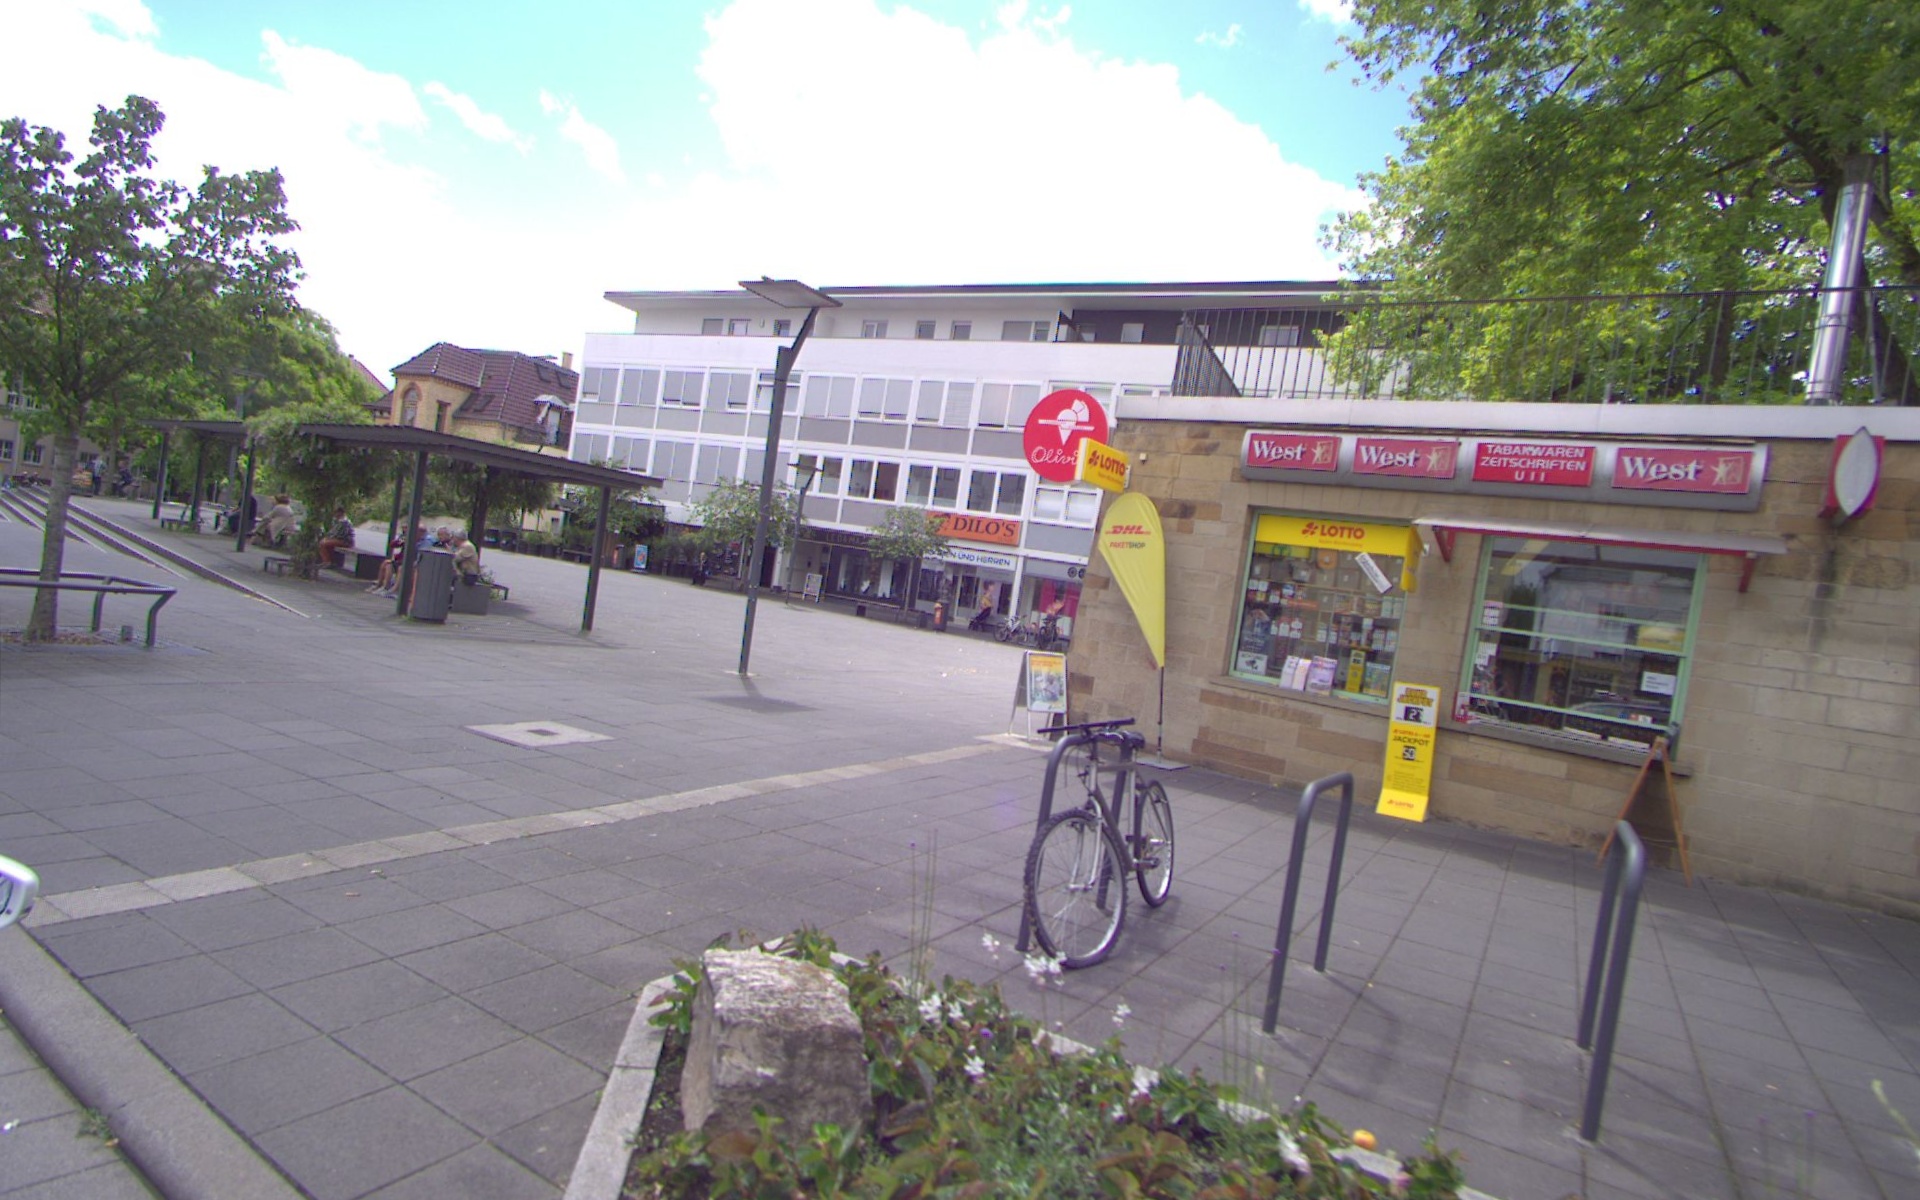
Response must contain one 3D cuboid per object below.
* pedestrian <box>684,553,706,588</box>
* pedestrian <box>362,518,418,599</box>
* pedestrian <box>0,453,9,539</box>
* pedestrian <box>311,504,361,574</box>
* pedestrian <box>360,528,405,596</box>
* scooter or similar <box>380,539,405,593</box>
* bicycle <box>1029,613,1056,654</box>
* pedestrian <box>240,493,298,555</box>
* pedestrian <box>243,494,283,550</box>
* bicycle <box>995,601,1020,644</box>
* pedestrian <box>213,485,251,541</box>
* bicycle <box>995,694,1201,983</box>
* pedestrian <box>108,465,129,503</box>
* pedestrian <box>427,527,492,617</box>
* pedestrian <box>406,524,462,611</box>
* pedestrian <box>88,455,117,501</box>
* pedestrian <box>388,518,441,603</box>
[{"bbox_3d":[-10.633,-1.178,40.382,0.535,1.339,0.570,8,0,8],"label":"pedestrian"},{"bbox_3d":[-9.822,-0.714,17.329,0.533,1.278,0.568,11,3,39],"label":"pedestrian"},{"bbox_3d":[-17.586,-1.830,18.006,0.682,1.703,0.705,6,1,-45],"label":"pedestrian"},{"bbox_3d":[-12.836,-1.248,20.700,0.538,1.324,0.623,9,2,38],"label":"pedestrian"},{"bbox_3d":[-10.153,-0.663,17.686,0.363,1.103,0.475,11,3,38],"label":"pedestrian"},{"bbox_3d":[-10.264,-0.619,18.201,0.246,0.905,0.504,7,3,-25],"label":"scooter or similar"},{"bbox_3d":[2.774,1.099,33.883,0.675,1.157,2.025,7,3,2],"label":"bicycle"},{"bbox_3d":[-16.008,-1.758,23.313,0.758,1.284,0.675,8,0,-11],"label":"pedestrian"},{"bbox_3d":[-16.676,-1.871,24.058,0.559,1.242,0.566,8,0,44],"label":"pedestrian"},{"bbox_3d":[1.618,0.748,34.654,0.675,1.325,2.025,7,2,2],"label":"bicycle"},{"bbox_3d":[-18.792,-2.255,25.969,0.538,1.339,0.566,8,0,44],"label":"pedestrian"},{"bbox_3d":[0.720,1.001,4.735,0.339,1.008,1.730,7,1,26],"label":"bicycle"},{"bbox_3d":[-30.755,-4.247,36.763,0.632,1.301,0.362,9,2,40],"label":"pedestrian"},{"bbox_3d":[-8.098,-0.444,16.282,0.577,1.338,0.615,11,3,38],"label":"pedestrian"},{"bbox_3d":[-8.726,-0.531,16.692,0.566,1.338,0.495,11,3,38],"label":"pedestrian"},{"bbox_3d":[-30.732,-4.358,36.052,0.446,1.527,0.504,8,2,19],"label":"pedestrian"},{"bbox_3d":[-9.221,-0.665,17.012,0.517,1.338,0.497,11,3,39],"label":"pedestrian"}]
